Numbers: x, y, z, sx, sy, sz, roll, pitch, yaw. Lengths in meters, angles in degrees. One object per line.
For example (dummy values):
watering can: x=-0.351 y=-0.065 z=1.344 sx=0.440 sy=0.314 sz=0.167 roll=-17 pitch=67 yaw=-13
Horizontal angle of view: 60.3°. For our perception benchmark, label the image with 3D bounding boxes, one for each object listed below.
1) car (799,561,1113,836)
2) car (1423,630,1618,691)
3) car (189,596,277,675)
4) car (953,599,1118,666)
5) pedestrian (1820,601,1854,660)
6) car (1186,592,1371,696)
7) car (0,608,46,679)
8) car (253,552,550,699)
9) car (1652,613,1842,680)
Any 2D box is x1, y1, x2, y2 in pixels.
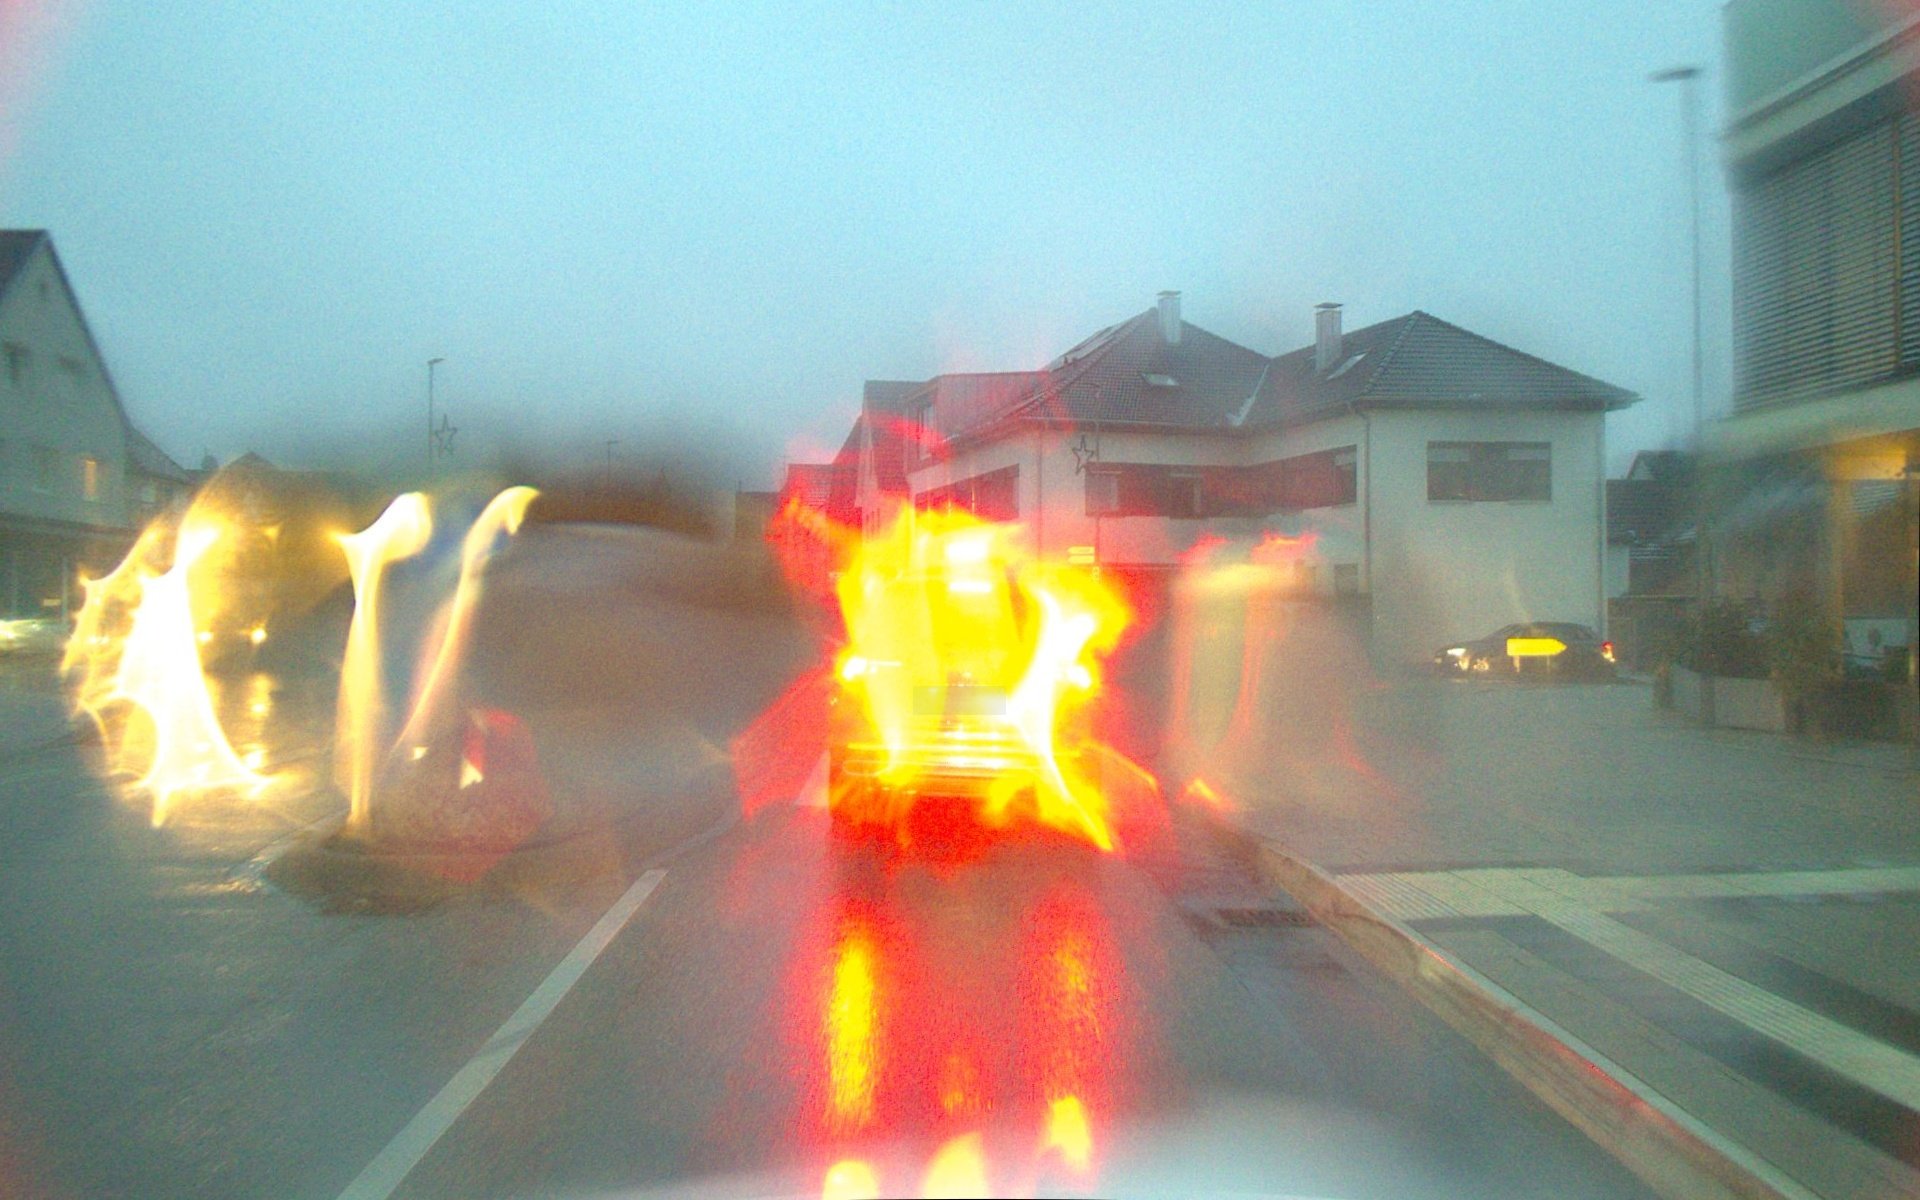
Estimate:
car: x=-0.058 y=0.593 z=11.938 sx=1.877 sy=1.643 sz=3.949 roll=1 pitch=0 yaw=-1
car: x=13.667 y=1.497 z=40.498 sx=4.138 sy=1.408 sz=1.849 roll=1 pitch=-3 yaw=-4
car: x=-14.130 y=0.654 z=32.142 sx=1.484 sy=1.436 sz=3.340 roll=0 pitch=0 yaw=-24
car: x=1.958 y=0.813 z=42.808 sx=3.904 sy=1.657 sz=1.828 roll=0 pitch=0 yaw=19
pedestrian: x=25.029 y=0.867 z=47.211 sx=0.700 sy=1.649 sz=0.583 roll=0 pitch=0 yaw=7
car: x=5.283 y=0.652 z=27.067 sx=1.745 sy=1.566 sz=3.923 roll=0 pitch=0 yaw=31
car: x=-21.303 y=0.918 z=34.470 sx=3.745 sy=1.447 sz=1.716 roll=-1 pitch=-2 yaw=13
car: x=-8.593 y=0.359 z=25.270 sx=4.805 sy=2.049 sz=1.991 roll=0 pitch=-1 yaw=38
car: x=19.389 y=1.141 z=40.839 sx=3.906 sy=1.579 sz=1.696 roll=1 pitch=-2 yaw=-2
